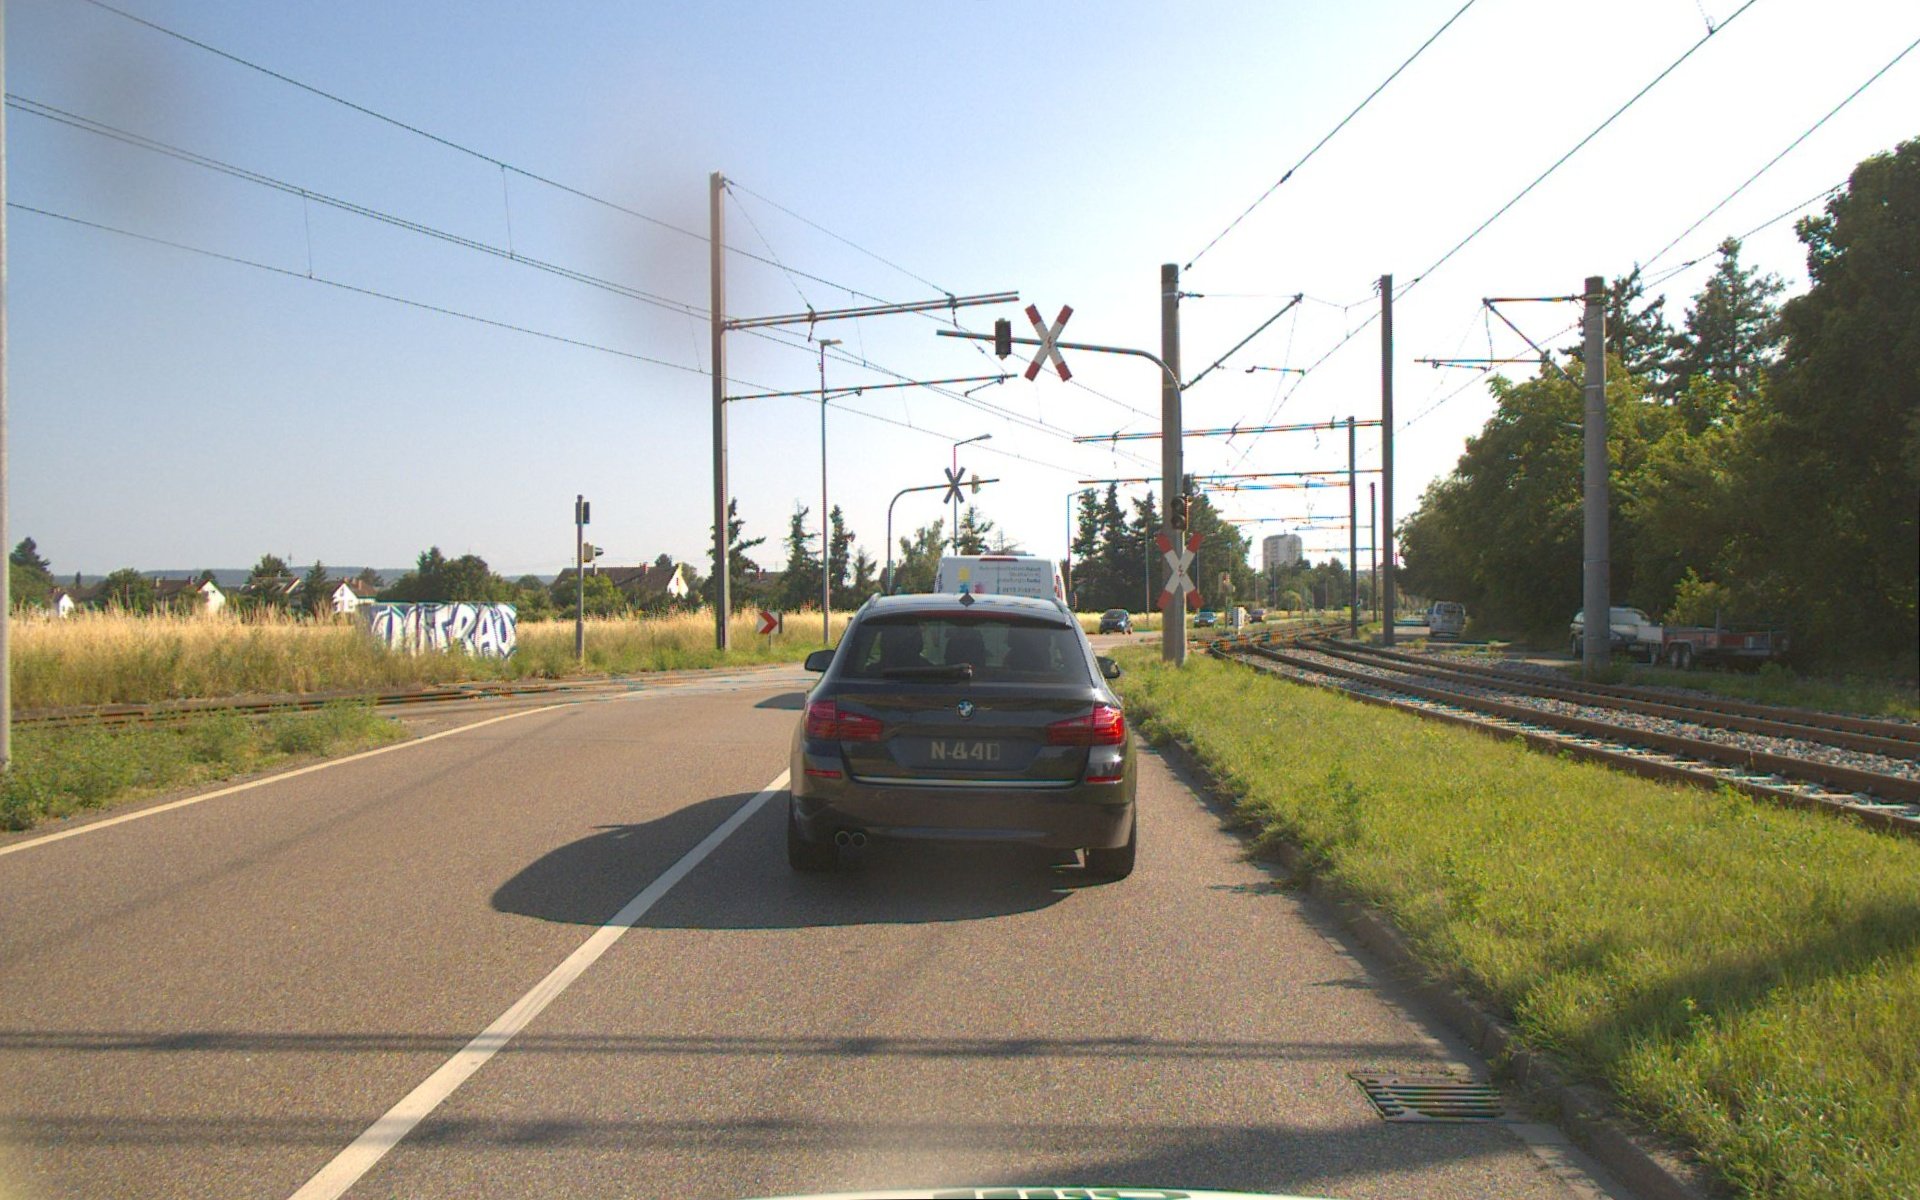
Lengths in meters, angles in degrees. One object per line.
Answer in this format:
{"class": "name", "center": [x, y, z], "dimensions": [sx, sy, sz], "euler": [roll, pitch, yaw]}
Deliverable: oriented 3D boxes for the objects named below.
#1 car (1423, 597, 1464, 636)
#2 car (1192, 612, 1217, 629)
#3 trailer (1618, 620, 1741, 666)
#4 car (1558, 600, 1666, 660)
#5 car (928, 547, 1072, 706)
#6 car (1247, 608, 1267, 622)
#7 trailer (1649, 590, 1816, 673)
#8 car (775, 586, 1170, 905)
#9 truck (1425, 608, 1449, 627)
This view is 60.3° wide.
{"class": "car", "center": [27.163, 0.920, 93.038], "dimensions": [1.951, 2.039, 5.070], "euler": [2, 0, 15]}
{"class": "car", "center": [21.550, 1.782, 145.615], "dimensions": [1.657, 1.465, 4.287], "euler": [1, 0, 15]}
{"class": "trailer", "center": [17.447, 1.017, 40.252], "dimensions": [1.695, 0.956, 3.730], "euler": [3, 0, 6]}
{"class": "car", "center": [17.667, 0.777, 45.026], "dimensions": [1.662, 1.482, 4.884], "euler": [2, 0, 9]}
{"class": "car", "center": [0.682, 0.345, 23.771], "dimensions": [1.818, 2.023, 5.110], "euler": [0, 0, 4]}
{"class": "car", "center": [34.167, 1.736, 190.104], "dimensions": [1.677, 1.576, 3.930], "euler": [0, 0, 18]}
{"class": "trailer", "center": [16.811, 0.661, 36.253], "dimensions": [1.984, 1.624, 4.262], "euler": [2, 0, 6]}
{"class": "car", "center": [0.020, 0.664, 10.056], "dimensions": [1.831, 1.478, 4.743], "euler": [0, 0, -1]}
{"class": "truck", "center": [47.788, 1.748, 165.737], "dimensions": [2.157, 1.851, 5.933], "euler": [0, -1, 15]}
